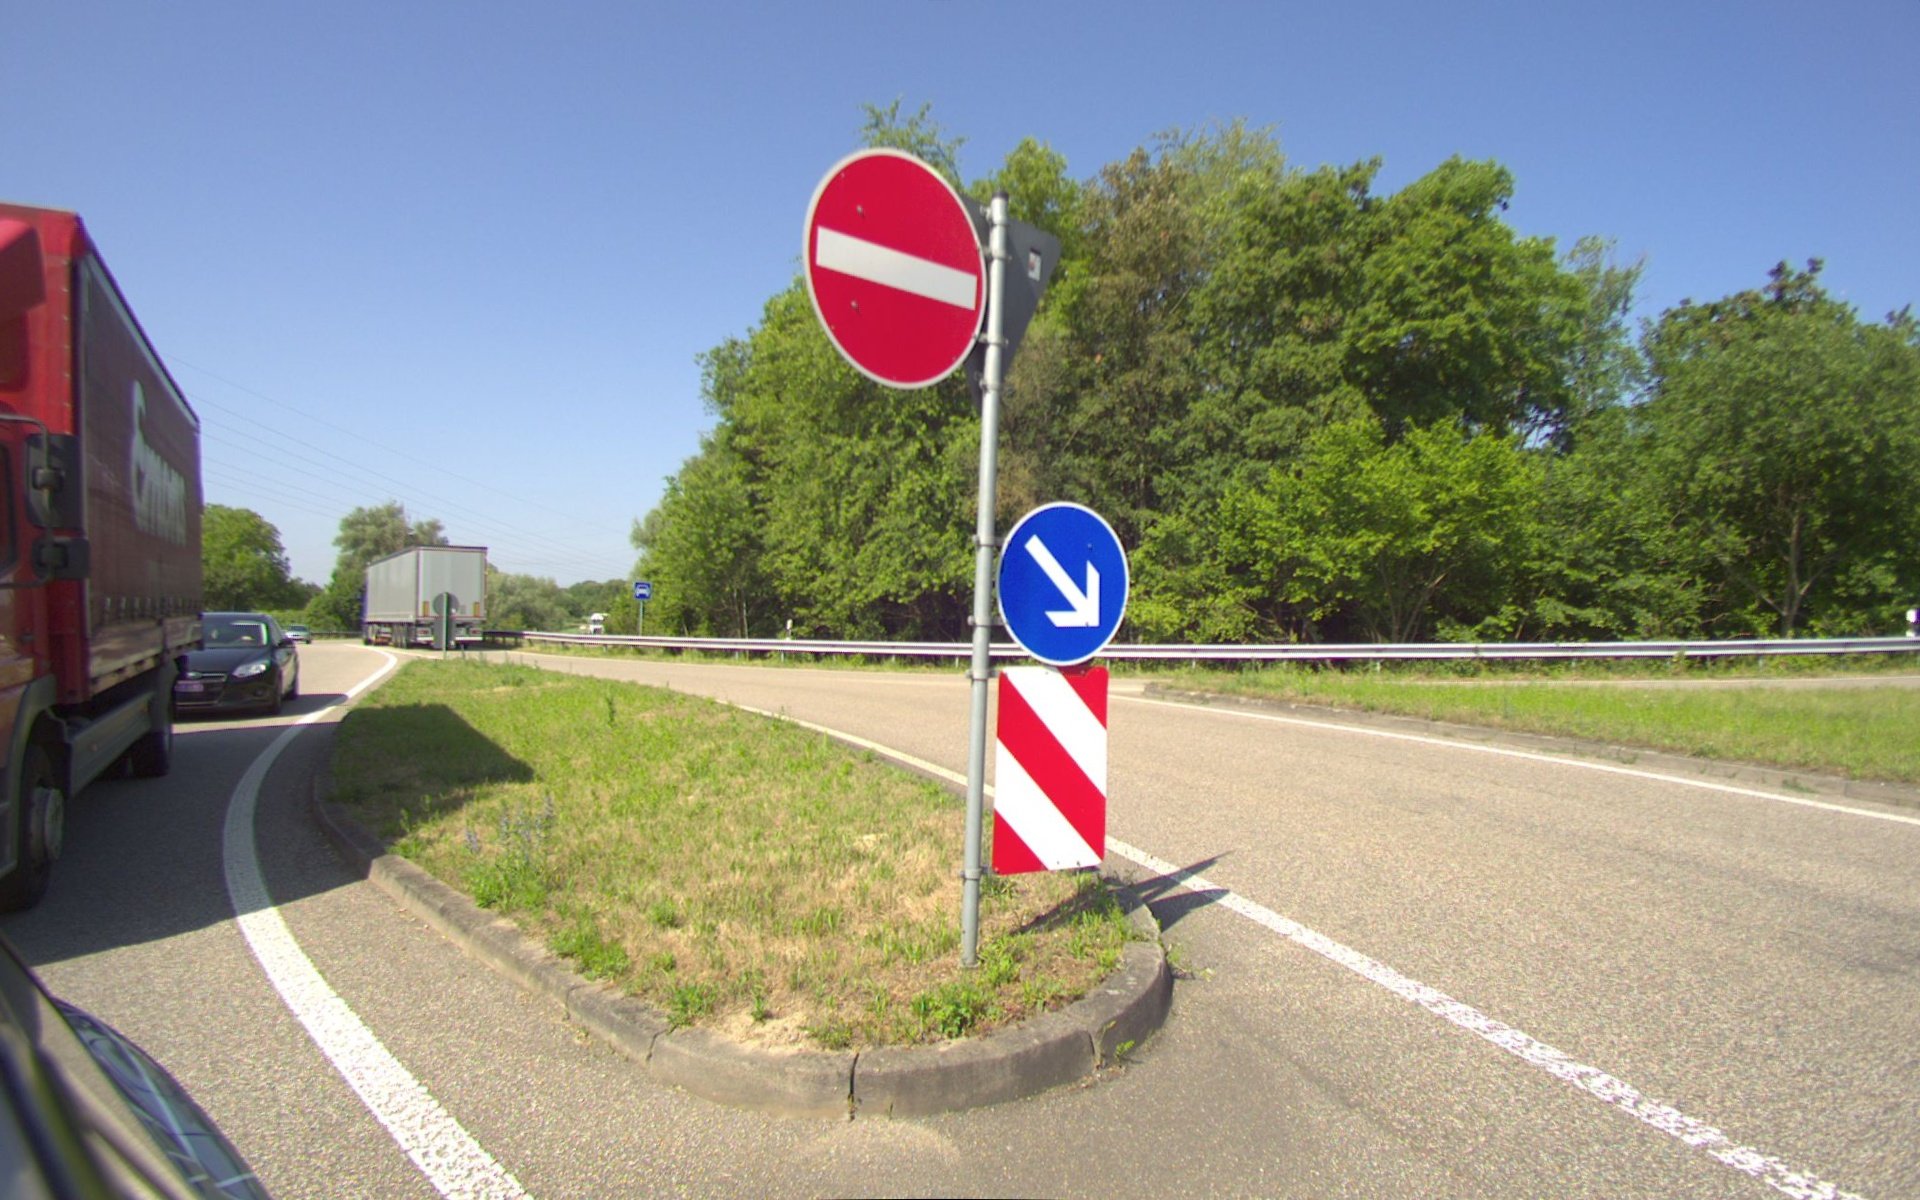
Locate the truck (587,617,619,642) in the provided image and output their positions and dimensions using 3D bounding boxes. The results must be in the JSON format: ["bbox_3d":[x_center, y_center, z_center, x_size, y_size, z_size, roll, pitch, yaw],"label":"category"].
[{"bbox_3d":[-61.445,5.070,174.352,2.904,4.270,5.723,1,-2,5],"label":"truck"}]

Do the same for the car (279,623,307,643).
[{"bbox_3d":[-51.453,2.530,78.081,1.758,1.396,4.390,0,-1,-33],"label":"car"}]

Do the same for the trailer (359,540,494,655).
[{"bbox_3d":[-23.760,0.130,44.469,2.911,4.300,14.011,3,-3,-37],"label":"trailer"}]

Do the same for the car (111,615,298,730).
[{"bbox_3d":[-10.959,0.957,14.954,1.758,1.425,4.012,0,-1,-30],"label":"car"}]

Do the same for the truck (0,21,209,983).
[{"bbox_3d":[-7.264,-0.315,7.077,2.646,3.689,9.287,0,-1,-33],"label":"truck"}]

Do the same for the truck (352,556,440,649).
[{"bbox_3d":[-28.065,0.200,50.259,2.893,4.279,5.745,3,-3,-37],"label":"truck"}]
